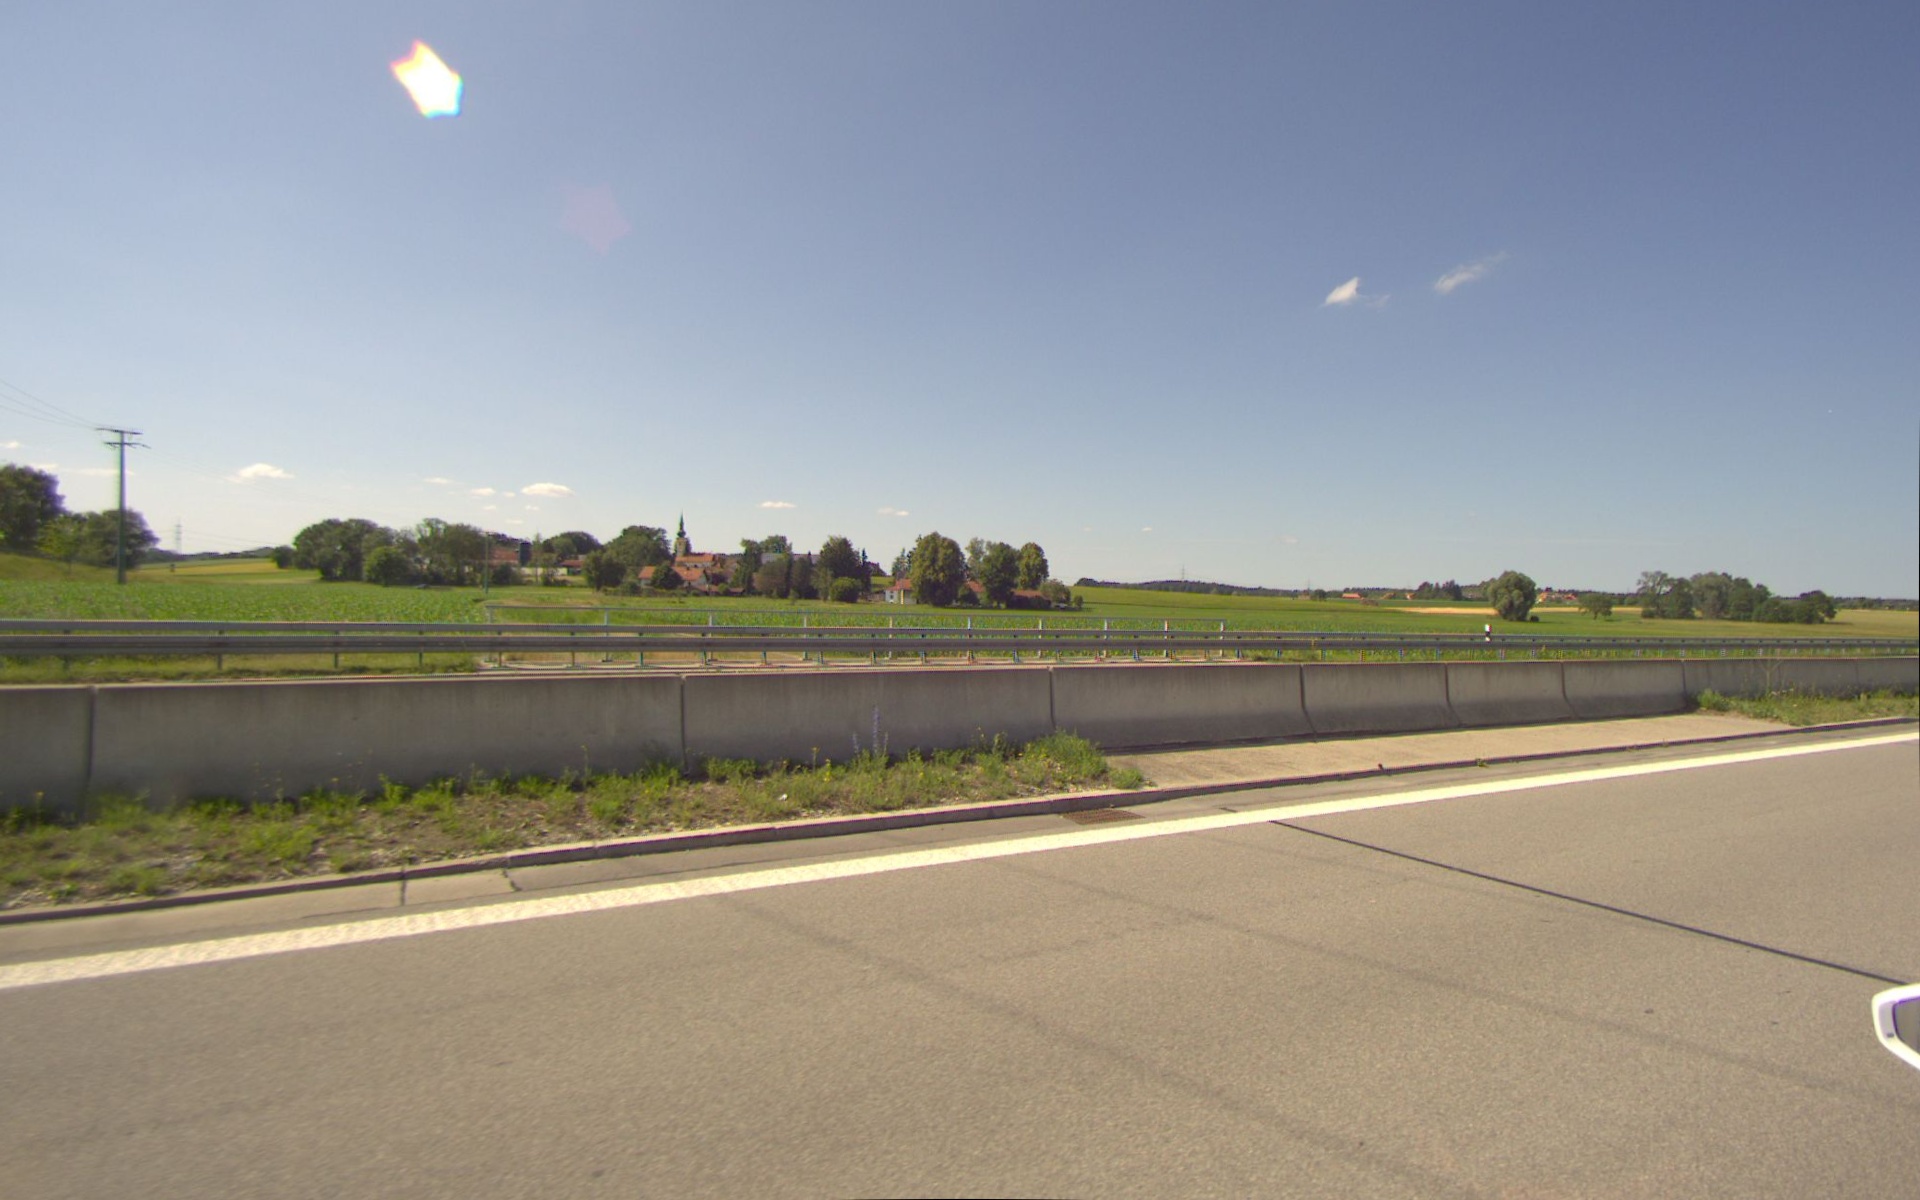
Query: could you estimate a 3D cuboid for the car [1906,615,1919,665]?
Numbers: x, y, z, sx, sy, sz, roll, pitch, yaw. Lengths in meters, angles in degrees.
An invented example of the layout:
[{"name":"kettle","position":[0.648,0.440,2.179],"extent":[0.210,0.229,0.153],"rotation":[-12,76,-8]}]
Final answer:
[{"name":"car","position":[42.190,1.728,42.340],"extent":[5.550,2.040,1.983],"rotation":[2,-1,-32]}]
